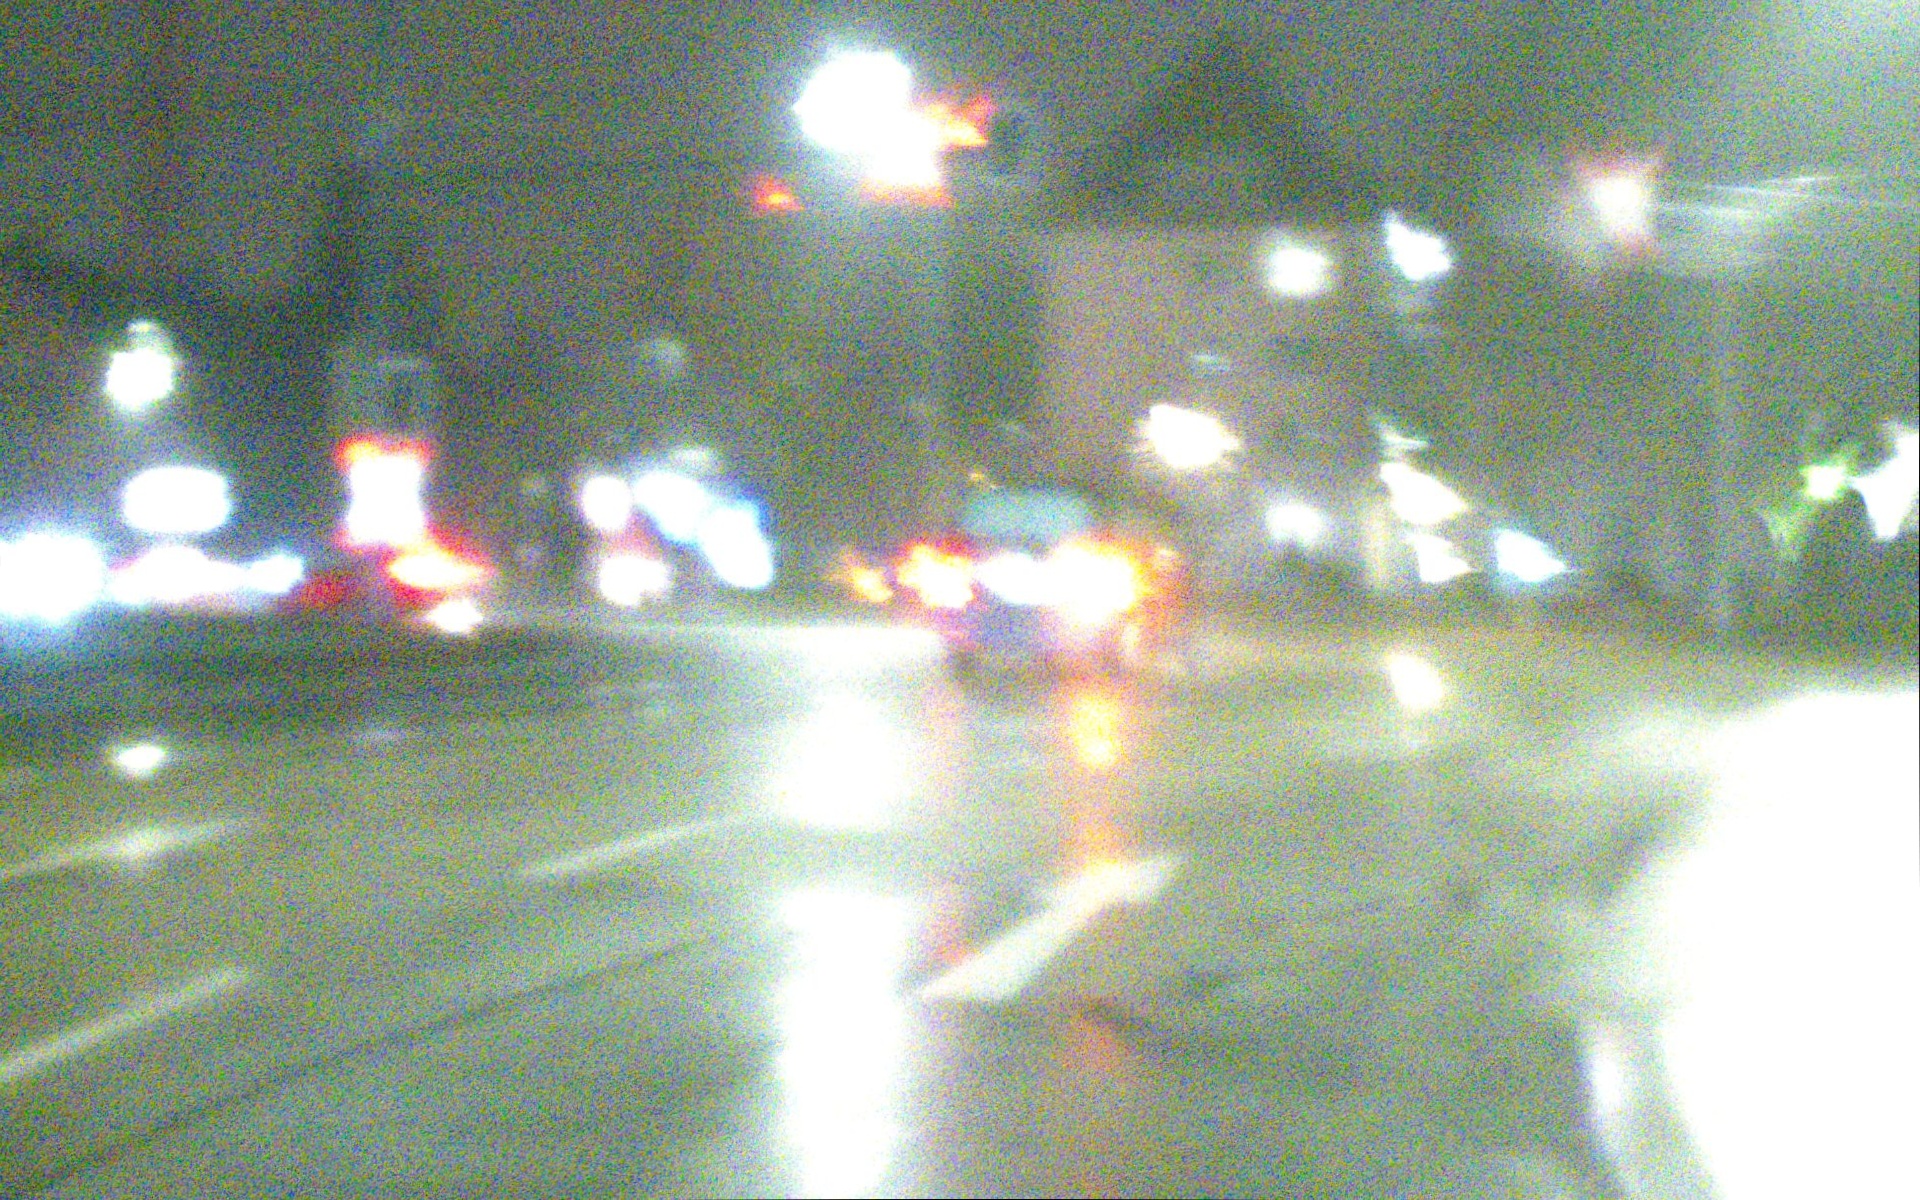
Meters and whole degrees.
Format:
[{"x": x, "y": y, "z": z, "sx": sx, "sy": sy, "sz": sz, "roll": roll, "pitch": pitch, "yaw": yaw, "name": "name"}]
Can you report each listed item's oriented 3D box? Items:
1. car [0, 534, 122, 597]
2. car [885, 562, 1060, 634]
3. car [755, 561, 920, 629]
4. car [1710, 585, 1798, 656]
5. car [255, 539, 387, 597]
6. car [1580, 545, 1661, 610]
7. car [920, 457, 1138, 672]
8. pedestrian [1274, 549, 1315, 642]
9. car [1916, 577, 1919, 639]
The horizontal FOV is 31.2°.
[{"x": -24.989, "y": -0.944, "z": 94.518, "sx": 1.860, "sy": 1.634, "sz": 3.887, "roll": 2, "pitch": 0, "yaw": 21, "name": "car"}, {"x": 0.319, "y": -0.053, "z": 86.811, "sx": 3.990, "sy": 1.678, "sz": 1.917, "roll": 2, "pitch": 0, "yaw": 18, "name": "car"}, {"x": -3.262, "y": -0.142, "z": 91.961, "sx": 4.056, "sy": 1.676, "sz": 1.791, "roll": 2, "pitch": 0, "yaw": 11, "name": "car"}, {"x": 18.828, "y": 0.515, "z": 81.625, "sx": 1.717, "sy": 1.492, "sz": 3.909, "roll": 0, "pitch": -3, "yaw": 9, "name": "car"}, {"x": -20.237, "y": -0.993, "z": 109.064, "sx": 1.996, "sy": 1.730, "sz": 4.615, "roll": 2, "pitch": 0, "yaw": 20, "name": "car"}, {"x": 15.873, "y": -0.533, "z": 82.792, "sx": 1.717, "sy": 1.491, "sz": 3.910, "roll": 2, "pitch": 0, "yaw": 9, "name": "car"}, {"x": 0.780, "y": -0.351, "z": 35.243, "sx": 1.994, "sy": 2.007, "sz": 4.557, "roll": 2, "pitch": 0, "yaw": 4, "name": "car"}, {"x": 6.960, "y": -0.096, "z": 71.547, "sx": 0.652, "sy": 1.895, "sz": 0.729, "roll": 2, "pitch": 0, "yaw": -8, "name": "pedestrian"}, {"x": 23.758, "y": 0.218, "z": 81.271, "sx": 1.717, "sy": 1.491, "sz": 3.910, "roll": 2, "pitch": 0, "yaw": 9, "name": "car"}]
